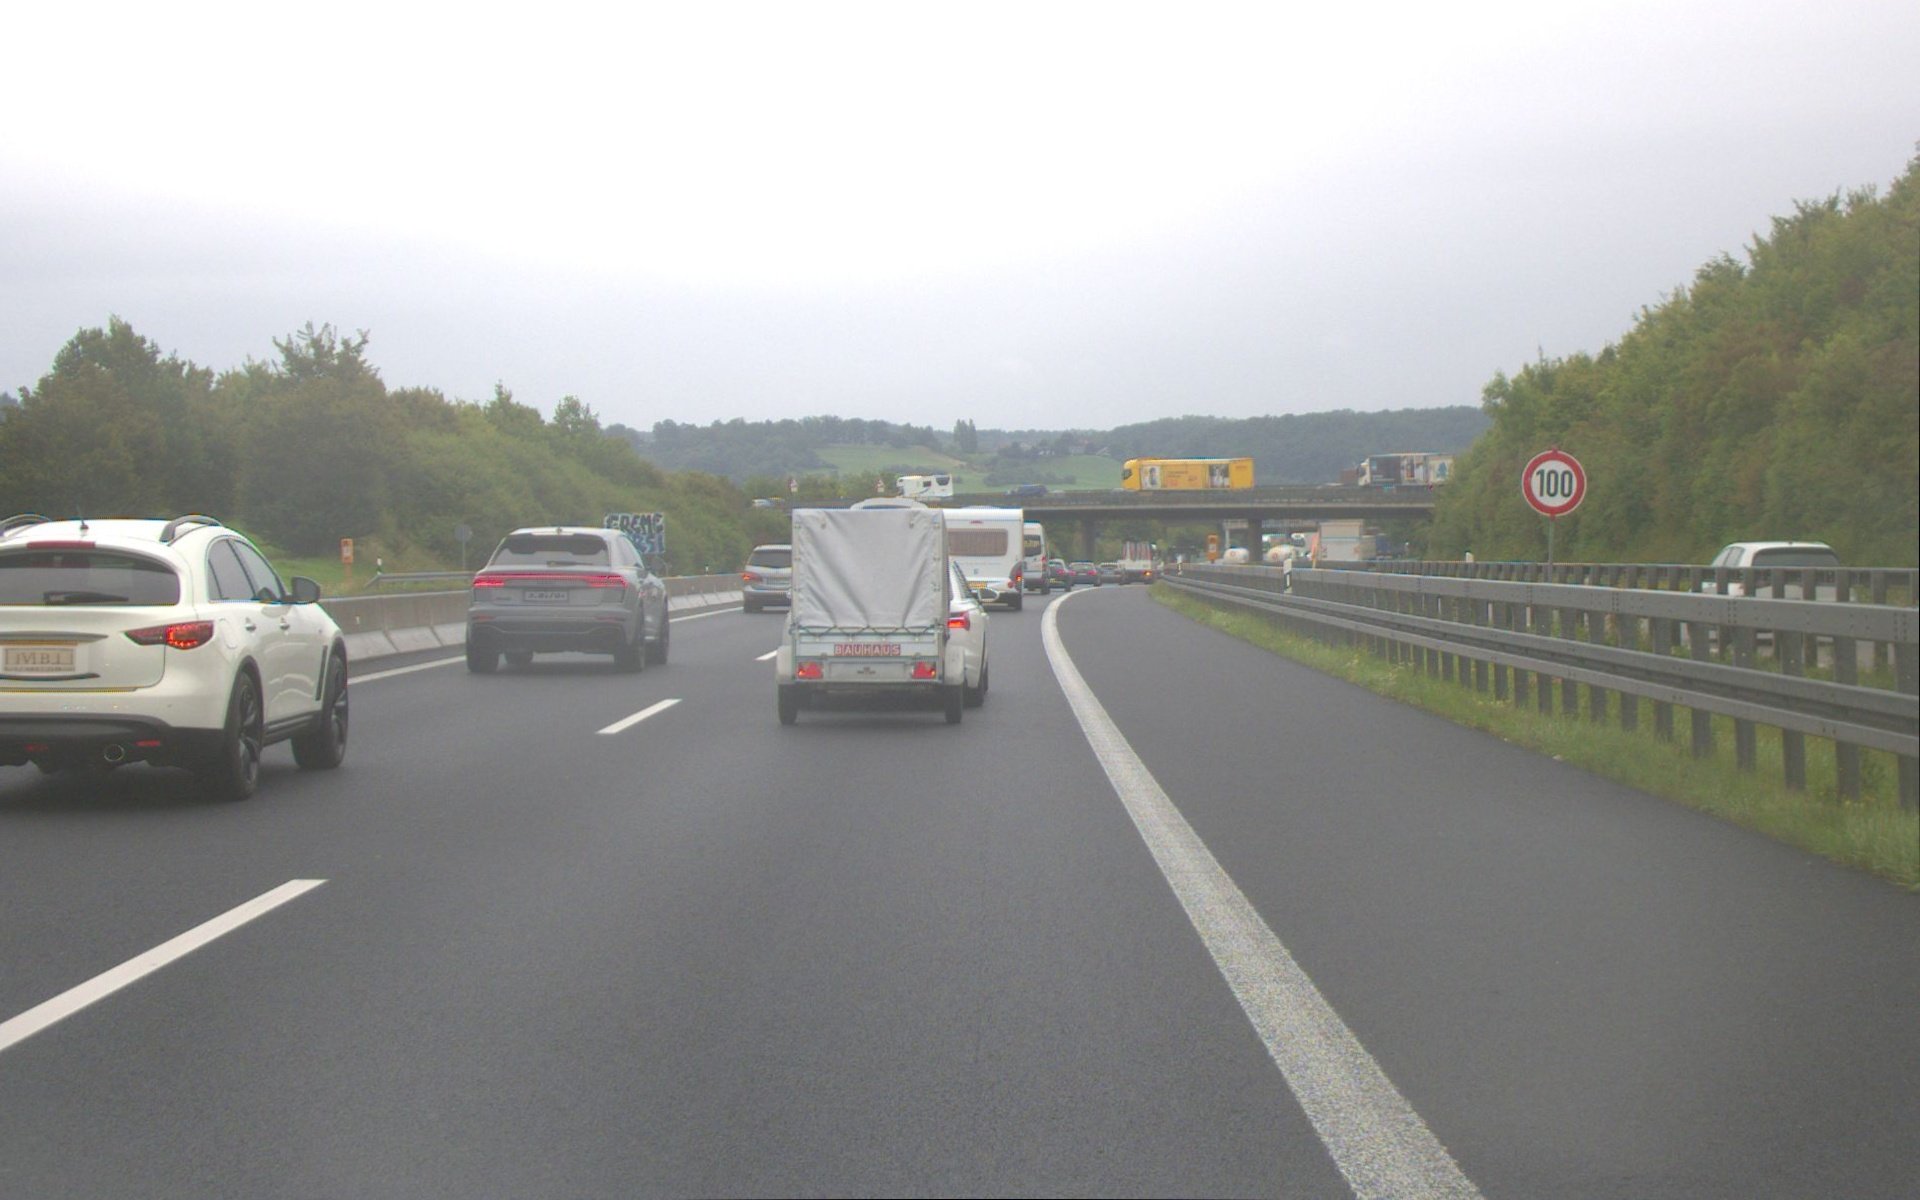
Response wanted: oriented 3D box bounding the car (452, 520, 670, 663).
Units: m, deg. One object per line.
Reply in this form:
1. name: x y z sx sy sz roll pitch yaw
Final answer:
1. car: -4.723 -0.131 41.304 2.174 1.626 4.501 0 1 -1

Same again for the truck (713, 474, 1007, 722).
1. truck: -0.751 -0.088 31.098 2.019 1.979 7.212 0 1 3

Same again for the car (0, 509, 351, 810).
1. car: -5.058 0.292 20.970 1.976 1.633 4.501 0 1 -1

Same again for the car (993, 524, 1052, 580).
1. car: 2.319 -1.784 128.961 1.993 2.029 4.152 1 1 -1

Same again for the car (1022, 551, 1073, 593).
1. car: 3.777 -1.208 148.686 1.993 1.744 4.000 1 1 -1

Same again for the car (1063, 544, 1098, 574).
1. car: 7.192 -2.417 204.917 1.994 1.744 4.000 1 1 3

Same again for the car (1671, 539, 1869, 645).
1. car: 11.392 -0.139 48.607 1.860 1.442 4.158 0 1 1

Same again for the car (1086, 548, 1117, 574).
1. car: 9.688 -2.662 235.347 1.994 1.744 4.000 1 1 4

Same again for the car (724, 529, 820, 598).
1. car: -4.453 -0.880 81.907 1.900 1.607 4.017 0 1 2

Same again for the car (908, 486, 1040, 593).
1. car: 0.415 -1.552 87.177 3.017 2.607 6.074 0 1 3

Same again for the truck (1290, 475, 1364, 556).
1. truck: 23.446 -5.385 220.056 4.094 5.086 10.463 0 1 3
